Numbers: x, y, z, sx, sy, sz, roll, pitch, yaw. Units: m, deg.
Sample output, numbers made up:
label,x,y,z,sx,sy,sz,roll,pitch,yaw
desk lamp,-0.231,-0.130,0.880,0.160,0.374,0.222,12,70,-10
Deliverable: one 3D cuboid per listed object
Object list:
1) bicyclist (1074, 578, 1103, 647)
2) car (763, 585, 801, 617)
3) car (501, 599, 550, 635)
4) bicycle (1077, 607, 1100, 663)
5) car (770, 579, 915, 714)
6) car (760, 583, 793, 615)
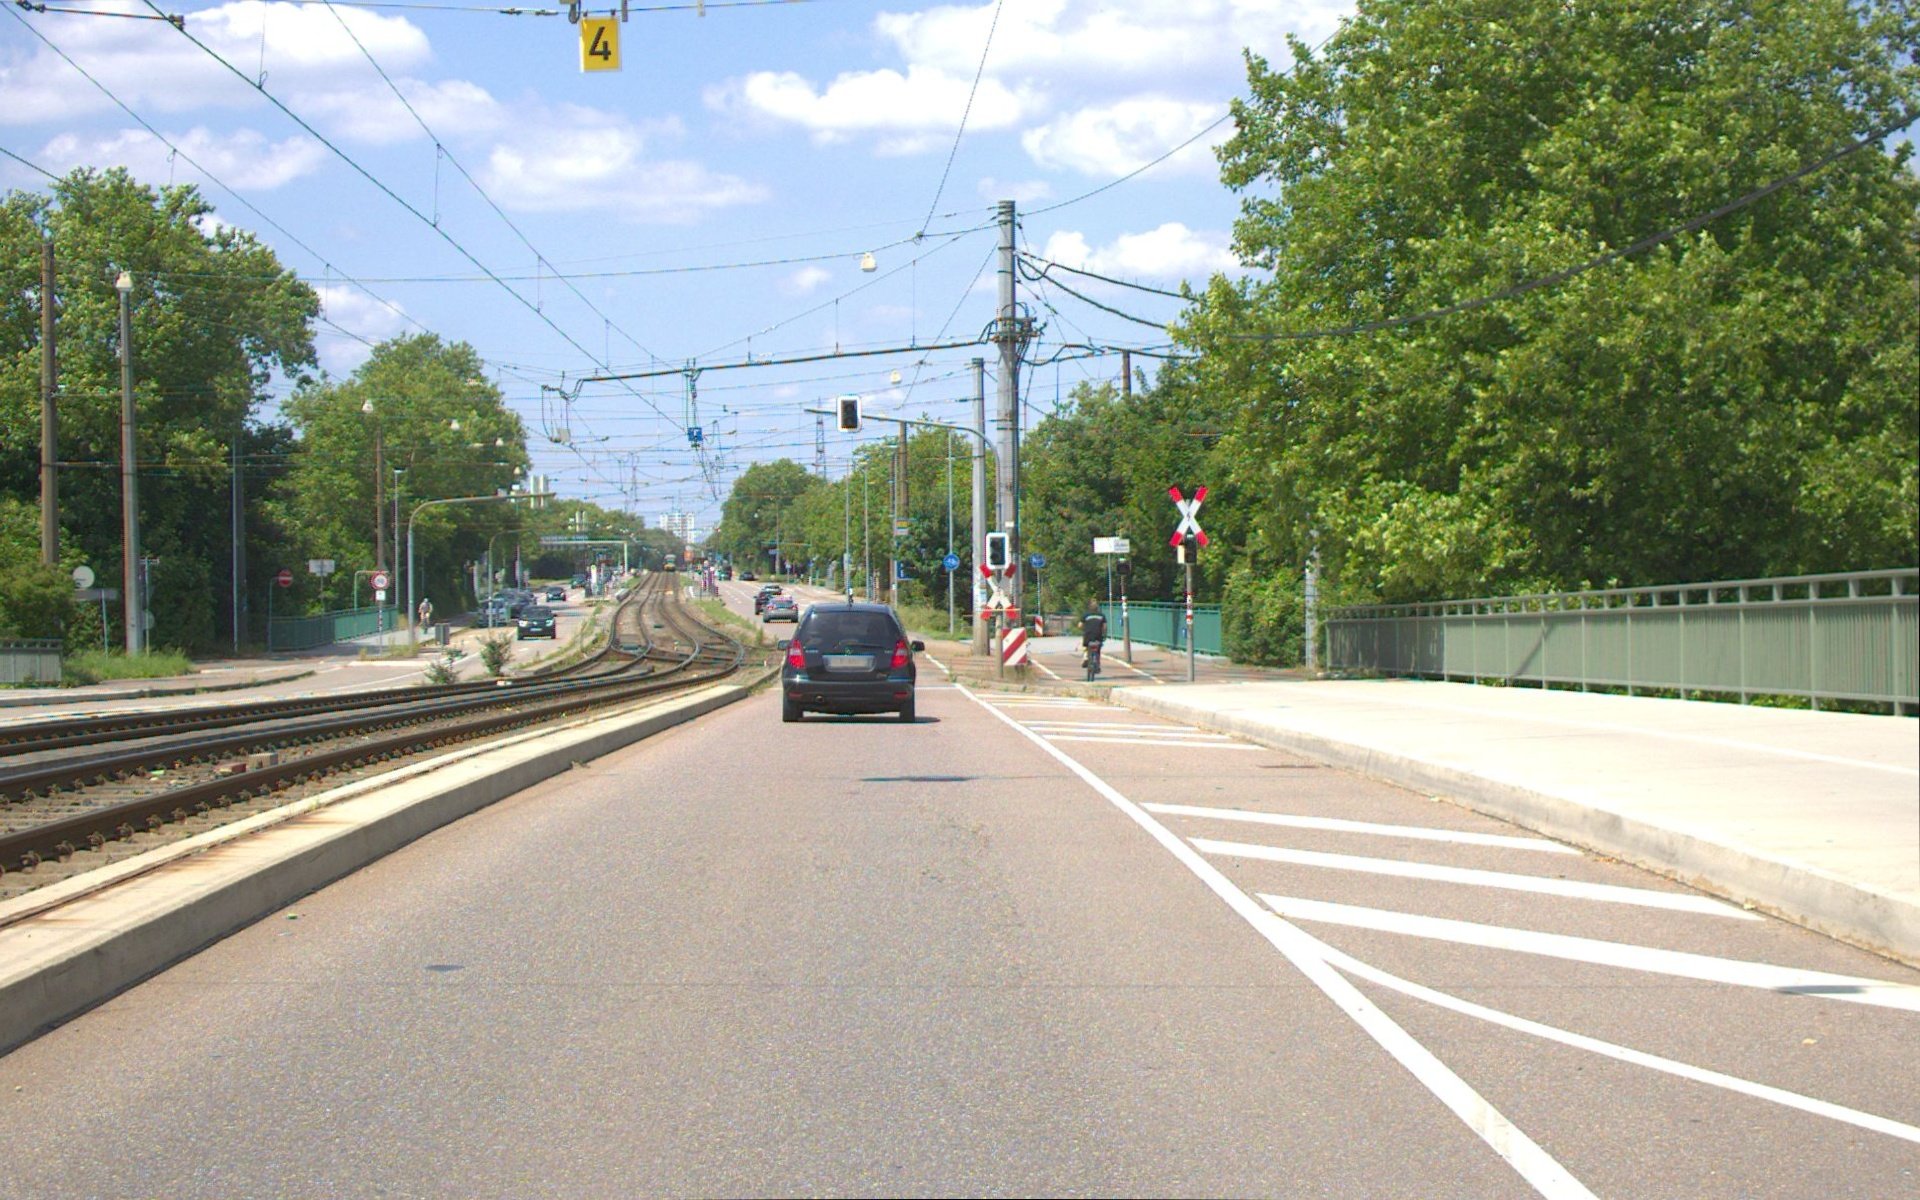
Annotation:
label,x,y,z,sx,sy,sz,roll,pitch,yaw
bicyclist,2.819,0.269,75.460,0.585,1.490,0.558,1,2,0
car,-9.979,0.047,192.809,1.884,1.634,4.000,3,1,-1
car,-19.426,0.738,153.865,1.705,1.505,3.733,-1,1,-1
bicycle,2.825,0.758,75.518,0.432,1.148,1.855,1,2,0
car,-1.569,0.584,46.486,1.853,1.564,4.389,1,2,-1
car,-12.031,-0.075,225.536,1.993,2.006,4.001,1,2,-2
